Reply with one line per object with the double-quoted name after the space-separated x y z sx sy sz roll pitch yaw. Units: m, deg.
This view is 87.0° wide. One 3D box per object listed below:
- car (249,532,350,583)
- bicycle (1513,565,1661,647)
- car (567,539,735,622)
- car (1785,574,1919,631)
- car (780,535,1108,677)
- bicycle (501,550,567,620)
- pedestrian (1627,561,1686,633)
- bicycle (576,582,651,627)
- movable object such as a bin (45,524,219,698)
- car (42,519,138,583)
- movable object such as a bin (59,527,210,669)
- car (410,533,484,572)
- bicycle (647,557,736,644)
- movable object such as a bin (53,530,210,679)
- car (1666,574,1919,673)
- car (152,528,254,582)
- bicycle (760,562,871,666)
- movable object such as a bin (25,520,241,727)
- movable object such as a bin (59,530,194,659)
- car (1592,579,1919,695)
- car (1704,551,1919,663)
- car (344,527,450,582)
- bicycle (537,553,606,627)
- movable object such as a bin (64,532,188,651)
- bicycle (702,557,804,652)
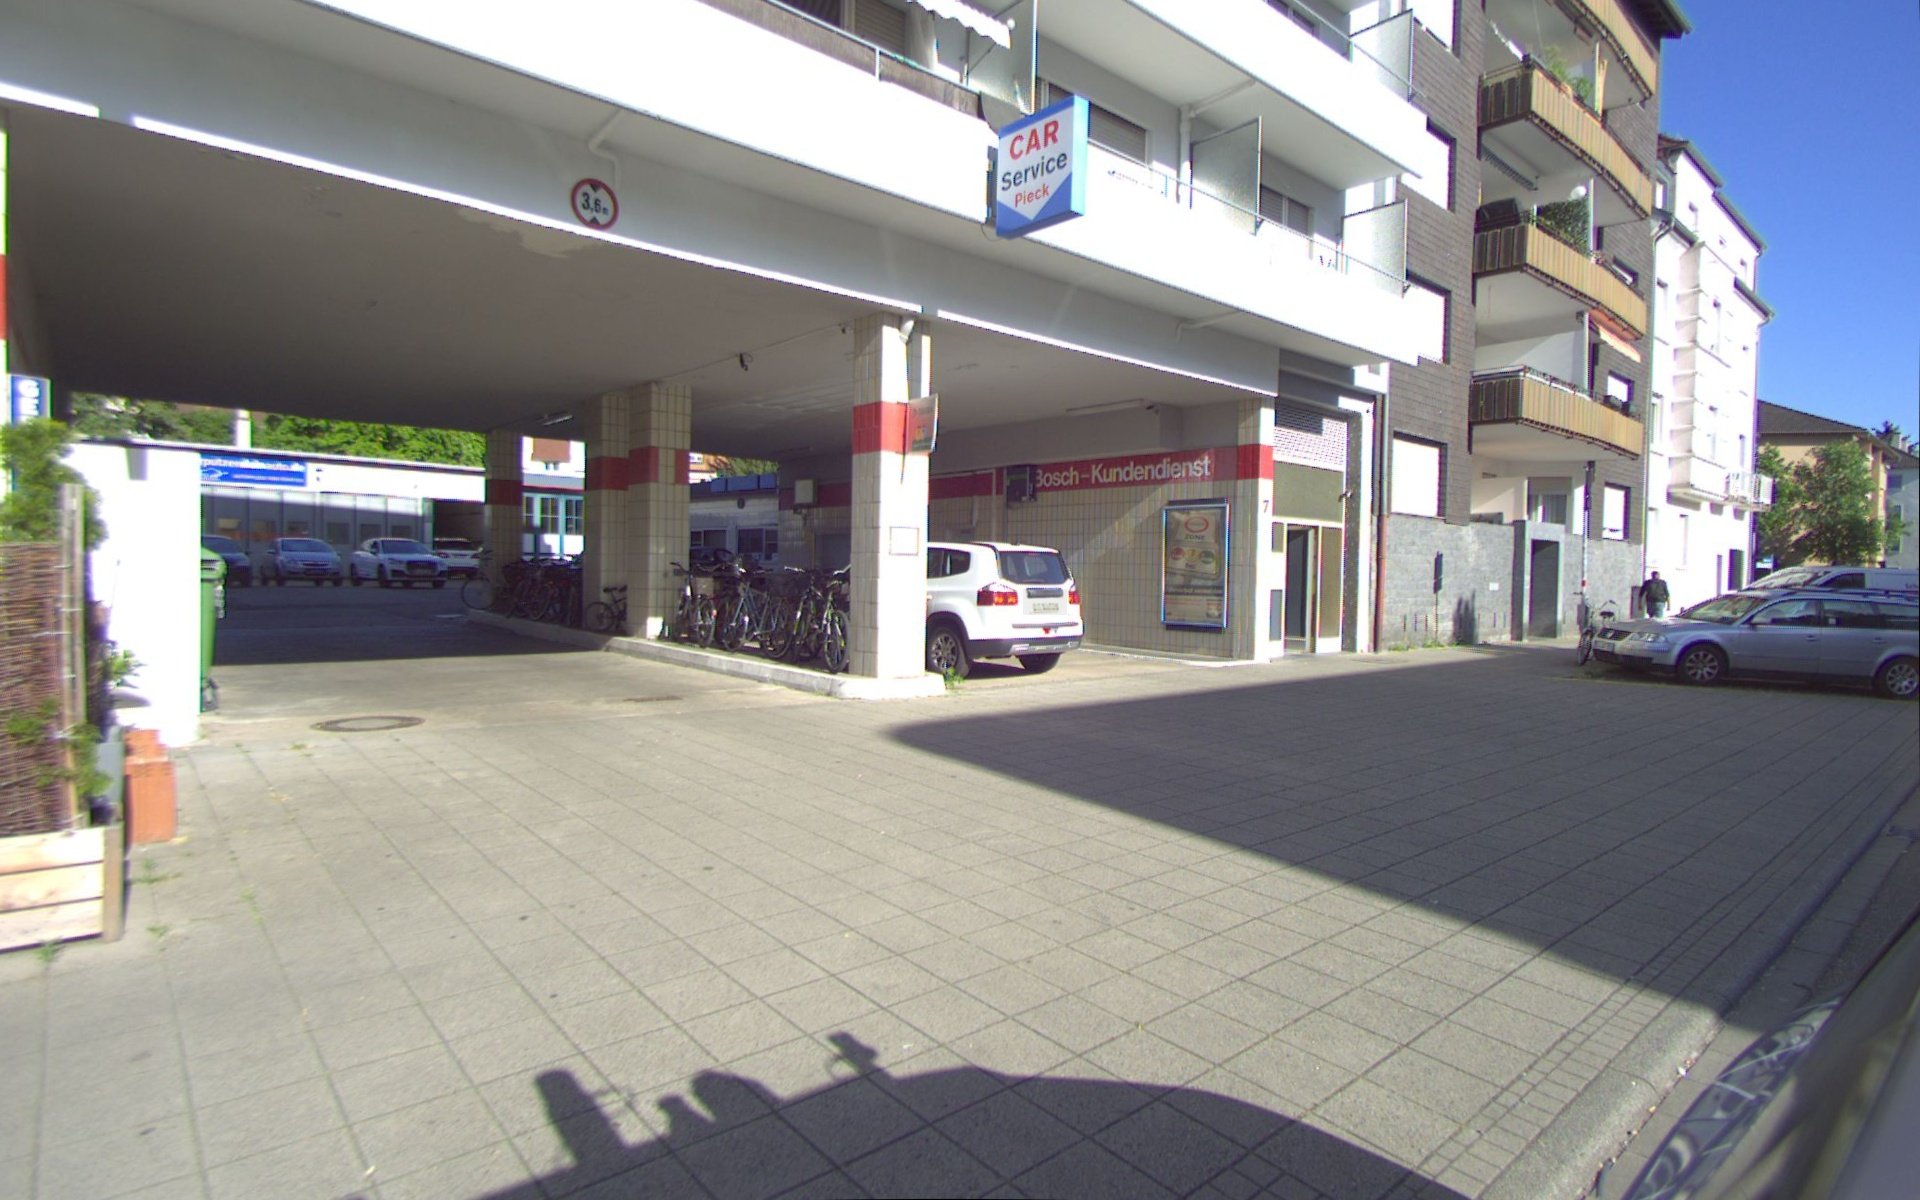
-20.209 -1.306 30.901 3.988 1.459 1.730 2 4 45 "car"
10.370 0.096 16.748 2.214 1.269 0.708 2 0 -14 "bicycle"
-6.316 -0.447 20.446 1.706 1.494 3.993 -3 4 -42 "car"
27.531 0.108 29.593 4.803 1.481 1.965 4 2 14 "car"
-0.380 -0.060 13.356 1.945 1.531 4.399 -1 4 -41 "car"
-8.101 -0.278 19.187 0.561 1.250 2.089 -3 2 -39 "bicycle"
16.167 -0.085 23.492 0.872 1.613 0.835 -1 3 -36 "pedestrian"
-5.423 0.065 15.869 1.059 0.673 0.323 0 2 -40 "bicycle"
-7.759 0.051 9.508 1.142 1.484 1.332 -3 3 -41 "movable object such as a bin"
-23.188 -1.306 27.069 1.716 1.593 3.363 -3 4 -38 "car"
-9.639 -0.069 11.813 1.221 1.524 1.327 -3 4 -44 "movable object such as a bin"
-22.709 -2.056 44.731 1.885 1.605 3.991 0 1 -43 "car"
-3.717 -0.019 13.958 0.459 1.122 1.587 -3 4 -44 "bicycle"
-8.675 0.002 10.643 1.164 1.436 1.294 -3 3 -39 "movable object such as a bin"
15.021 0.373 17.496 4.249 1.531 1.756 1 3 4 "car"
-21.752 -1.292 29.039 3.988 1.459 1.730 2 4 45 "car"
-1.655 0.118 11.414 0.458 1.090 1.569 -3 3 -40 "bicycle"
-6.825 0.122 8.370 1.243 1.518 1.464 -3 4 -42 "movable object such as a bin"
-10.574 -0.109 12.873 1.220 1.524 1.328 -3 3 -40 "movable object such as a bin"
12.322 0.512 15.086 4.567 1.483 1.689 1 3 7 "car"
17.723 0.115 19.850 4.454 1.920 2.047 3 4 8 "car"
-17.667 -1.390 31.689 3.988 1.605 1.886 2 2 45 "car"
-6.749 -0.212 17.514 0.475 1.175 2.060 -3 5 -39 "bicycle"
-11.477 -0.152 13.961 1.220 1.524 1.328 -3 3 -40 "movable object such as a bin"
-2.627 0.027 12.753 0.459 1.122 1.587 -3 4 -44 "bicycle"
